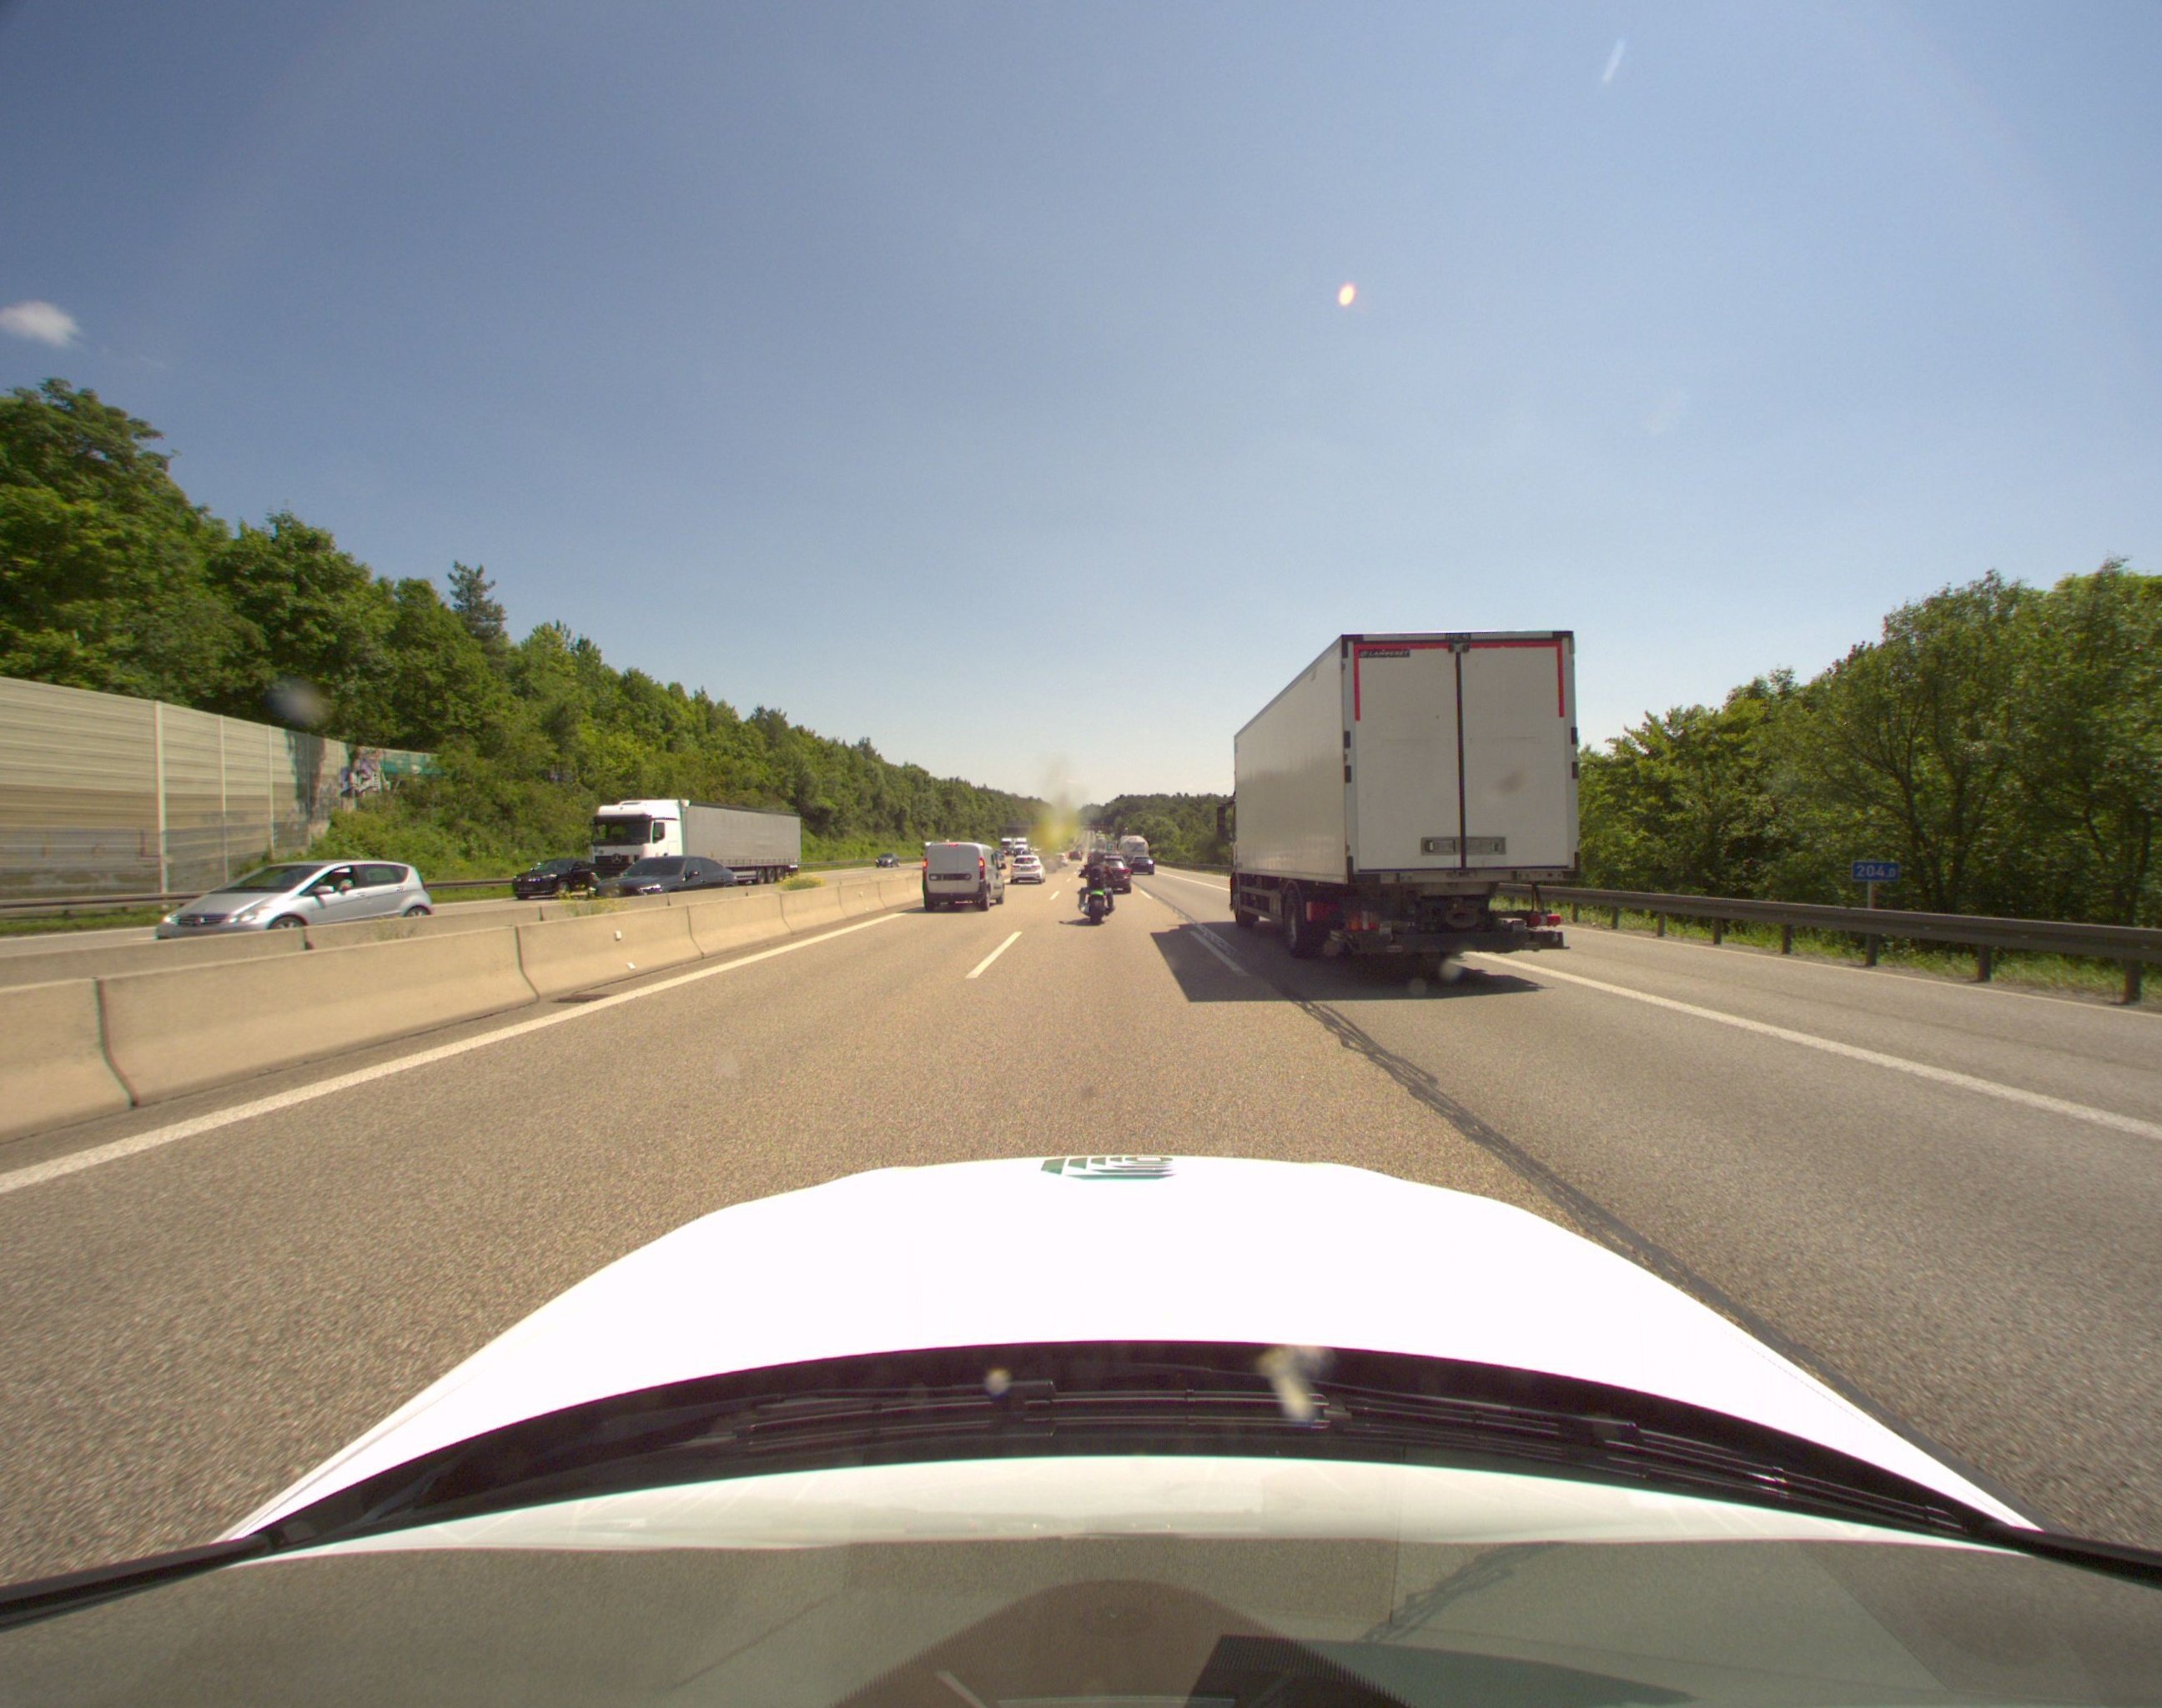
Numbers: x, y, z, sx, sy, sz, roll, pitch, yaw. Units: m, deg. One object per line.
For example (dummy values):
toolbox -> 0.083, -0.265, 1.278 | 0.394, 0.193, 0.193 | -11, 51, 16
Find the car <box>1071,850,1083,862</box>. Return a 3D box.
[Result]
car -> -0.593, 0.334, 137.591 | 1.873, 1.859, 4.001 | 2, 0, 1

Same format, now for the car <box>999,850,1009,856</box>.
car -> -18.800, -0.167, 198.766 | 1.756, 1.370, 4.502 | 0, 0, 1

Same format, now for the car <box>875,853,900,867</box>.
car -> -20.838, 0.649, 87.871 | 1.572, 1.462, 4.390 | -1, 0, 1

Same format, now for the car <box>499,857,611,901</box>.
car -> -21.310, 0.979, 33.200 | 1.803, 1.641, 4.100 | -1, 0, 2

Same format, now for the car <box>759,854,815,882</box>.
car -> -20.025, 0.898, 55.700 | 1.803, 1.810, 5.109 | -1, 0, 2

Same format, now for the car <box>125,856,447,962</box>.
car -> -14.310, 0.896, 15.067 | 1.820, 1.669, 4.107 | -1, -1, 2

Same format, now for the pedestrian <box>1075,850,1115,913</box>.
pedestrian -> 0.323, 0.597, 18.284 | 0.846, 1.362, 0.962 | -1, 0, 2

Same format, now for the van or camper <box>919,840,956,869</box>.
van or camper -> -14.037, 0.065, 79.946 | 2.262, 2.735, 6.806 | -1, -1, 1

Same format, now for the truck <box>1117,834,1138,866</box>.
truck -> 5.259, -0.449, 92.390 | 1.988, 3.522, 4.748 | -1, -1, -2

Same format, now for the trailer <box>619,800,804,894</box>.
trailer -> -17.769, -0.231, 40.891 | 2.803, 3.908, 13.826 | -1, -1, 1

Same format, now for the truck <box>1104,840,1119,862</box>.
truck -> 6.918, -0.695, 183.922 | 3.023, 4.542, 9.984 | 2, 0, 1

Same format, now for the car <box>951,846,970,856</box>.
car -> -16.402, -0.448, 110.679 | 1.795, 1.347, 4.724 | 0, 0, 1

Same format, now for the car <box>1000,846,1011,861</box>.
car -> -19.629, -0.121, 212.843 | 2.441, 3.874, 4.566 | -1, 0, 0

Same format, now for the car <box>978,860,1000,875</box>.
car -> -9.770, 1.384, 86.702 | 1.705, 1.538, 4.128 | -1, 0, 1

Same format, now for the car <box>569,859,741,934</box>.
car -> -10.544, 0.973, 20.619 | 1.803, 1.641, 4.604 | -1, 0, 2

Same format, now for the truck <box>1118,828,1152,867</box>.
truck -> 5.386, -0.575, 83.306 | 2.977, 3.671, 9.288 | -1, -1, 1

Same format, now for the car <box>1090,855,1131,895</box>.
car -> 1.244, 0.793, 33.054 | 1.526, 1.510, 4.004 | -1, 0, 3

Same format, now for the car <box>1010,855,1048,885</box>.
car -> -2.748, 0.823, 43.690 | 1.693, 1.478, 4.001 | 1, 0, 1

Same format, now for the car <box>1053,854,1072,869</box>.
car -> -1.888, 0.780, 84.213 | 1.693, 1.478, 4.001 | 1, 0, 1

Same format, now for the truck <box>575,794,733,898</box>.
truck -> -17.806, -0.275, 34.632 | 2.804, 3.908, 7.314 | -1, -1, 0

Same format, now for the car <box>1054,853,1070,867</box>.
car -> -2.144, 0.711, 95.038 | 1.693, 1.478, 4.001 | 1, 0, 1

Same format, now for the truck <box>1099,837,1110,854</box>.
truck -> 7.160, -2.567, 252.060 | 3.023, 5.139, 9.984 | 2, 0, 1

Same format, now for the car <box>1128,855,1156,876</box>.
car -> 4.694, 0.880, 63.109 | 1.822, 1.470, 4.001 | 2, 0, 1

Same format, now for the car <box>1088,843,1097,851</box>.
car -> 3.590, -2.191, 253.762 | 2.496, 2.587, 5.017 | 1, 0, 1

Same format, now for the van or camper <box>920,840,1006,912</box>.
van or camper -> -3.334, 0.599, 23.769 | 1.789, 1.892, 4.161 | -1, -1, 1

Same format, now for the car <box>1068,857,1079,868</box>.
car -> -1.441, 1.599, 153.085 | 1.986, 2.014, 4.001 | -1, -1, 1

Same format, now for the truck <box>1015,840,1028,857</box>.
truck -> -14.920, -1.271, 205.278 | 2.831, 4.214, 5.660 | 0, 0, 1

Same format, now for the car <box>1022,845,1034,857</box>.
car -> -8.953, -0.427, 138.028 | 1.886, 1.948, 3.998 | -1, -1, -1

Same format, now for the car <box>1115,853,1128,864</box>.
car -> 6.270, 0.720, 126.376 | 1.781, 1.555, 3.804 | 1, 0, 1

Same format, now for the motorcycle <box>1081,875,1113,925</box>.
motorcycle -> 0.376, 1.012, 18.442 | 0.689, 1.015, 2.122 | 0, 0, 2

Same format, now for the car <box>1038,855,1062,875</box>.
car -> -2.464, 0.845, 64.997 | 1.693, 1.478, 4.001 | 1, 0, 1

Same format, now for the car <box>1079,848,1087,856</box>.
car -> 0.544, -0.624, 218.434 | 1.922, 2.014, 4.001 | -1, -1, 1

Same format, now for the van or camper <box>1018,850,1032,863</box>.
van or camper -> -11.754, 0.461, 171.473 | 2.223, 2.761, 6.838 | 0, 0, 1

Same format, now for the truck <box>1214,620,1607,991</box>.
truck -> 4.300, -0.518, 13.543 | 2.678, 3.876, 9.782 | -2, 0, 1
